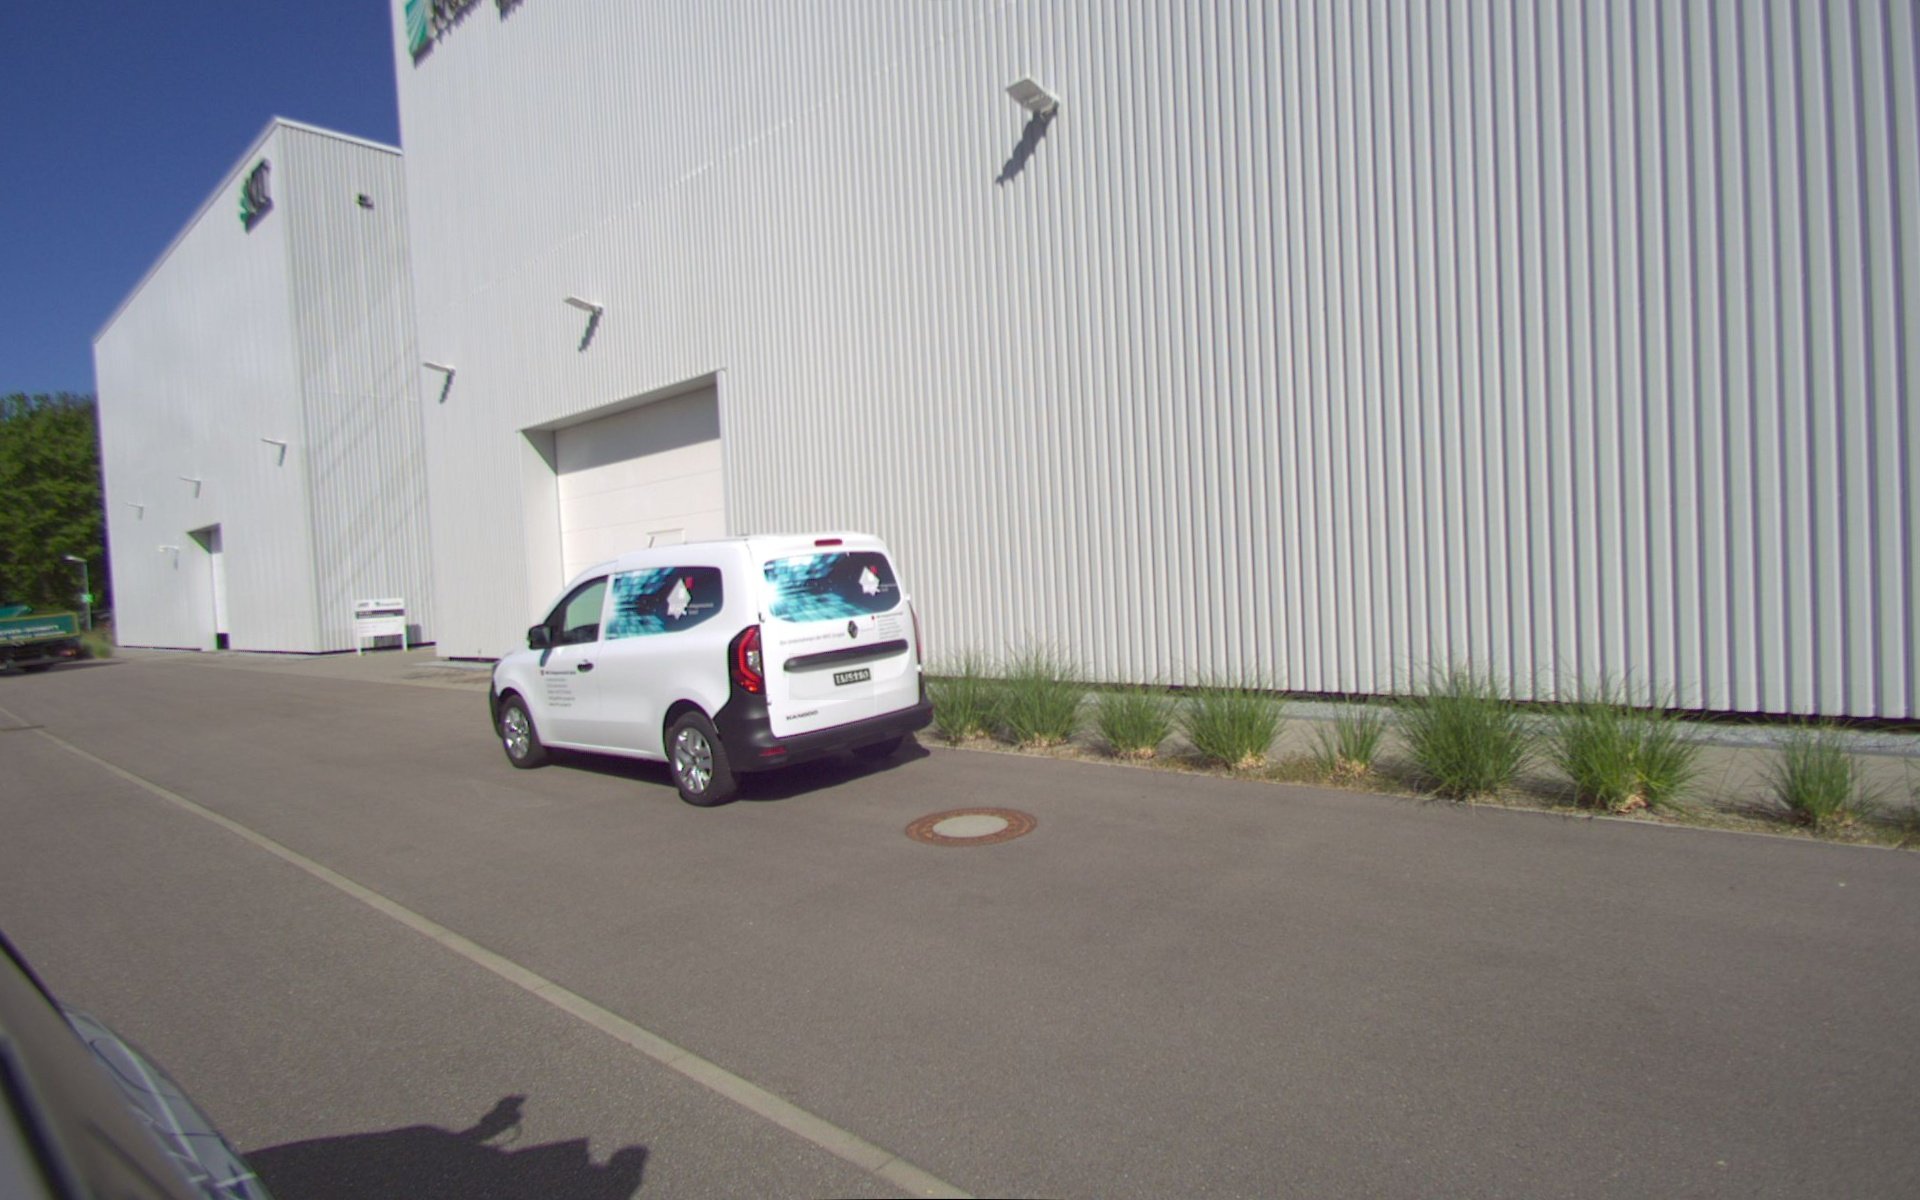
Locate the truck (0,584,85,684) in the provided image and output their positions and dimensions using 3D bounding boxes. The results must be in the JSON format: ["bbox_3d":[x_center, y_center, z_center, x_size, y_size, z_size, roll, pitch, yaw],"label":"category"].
[{"bbox_3d":[-31.697,1.220,32.195,9.655,2.736,2.565,-3,3,30],"label":"truck"}]

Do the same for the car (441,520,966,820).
[{"bbox_3d":[-2.340,0.437,8.424,4.596,1.803,1.908,-2,3,42],"label":"car"}]
